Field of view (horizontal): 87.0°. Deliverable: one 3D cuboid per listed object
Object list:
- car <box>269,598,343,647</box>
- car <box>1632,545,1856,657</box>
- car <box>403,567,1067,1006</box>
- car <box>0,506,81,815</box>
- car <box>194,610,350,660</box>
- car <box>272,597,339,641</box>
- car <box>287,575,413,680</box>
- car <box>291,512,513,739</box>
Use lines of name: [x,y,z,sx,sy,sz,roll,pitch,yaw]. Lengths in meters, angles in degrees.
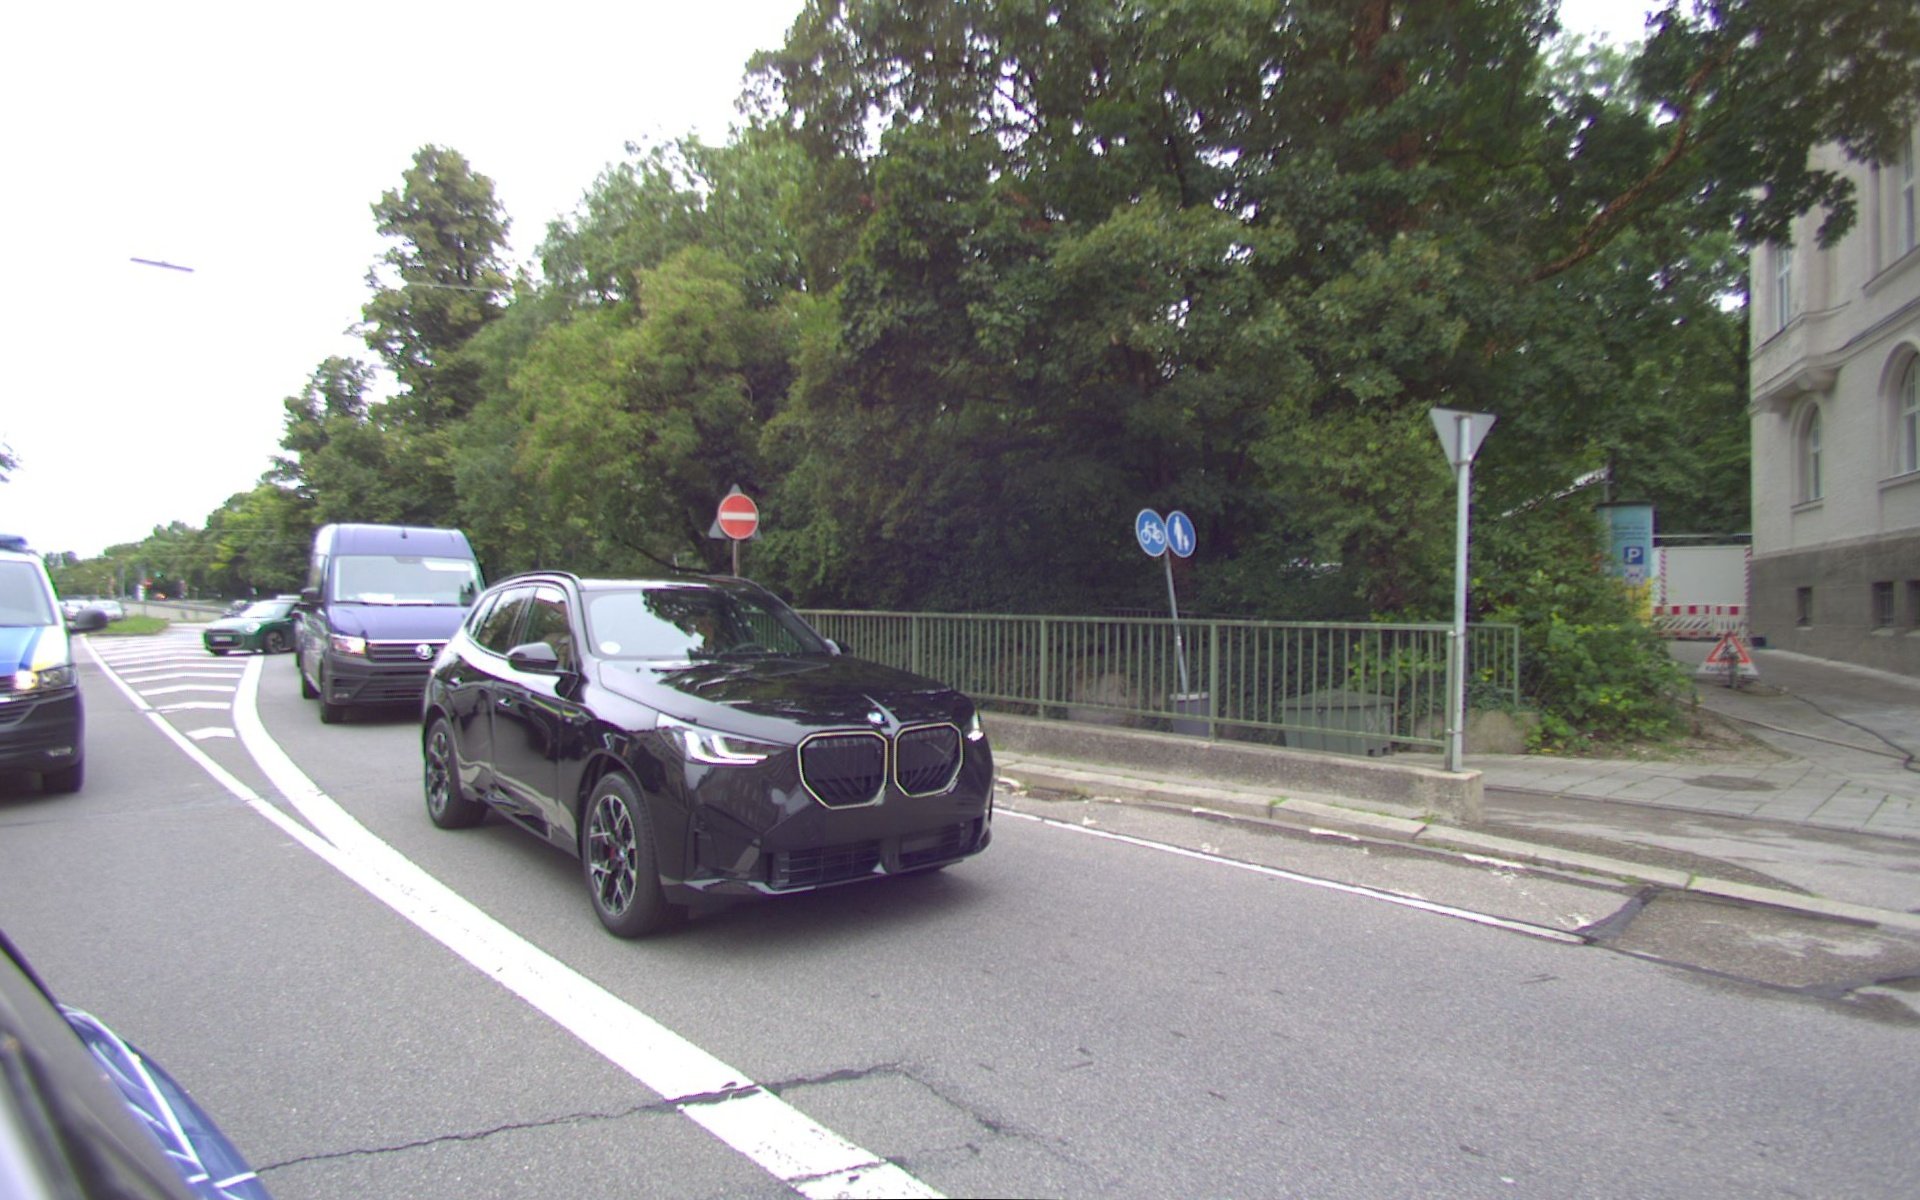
car: [-23.748,0.777,36.666,2.070,1.602,5.582,-1,0,-34]
car: [23.590,0.032,30.747,4.765,3.198,2.470,0,-1,18]
car: [-1.620,0.681,5.884,1.893,1.577,4.299,1,-1,-42]
car: [-8.888,0.451,8.590,1.801,2.115,5.636,0,-1,-45]
car: [-18.613,0.909,27.575,1.479,1.223,3.602,0,0,8]
car: [-28.373,0.790,43.807,2.279,1.742,5.228,-1,0,-34]
car: [-13.341,0.531,21.942,1.974,1.951,5.820,-1,0,-34]
car: [-8.106,0.266,14.326,1.974,2.510,6.247,0,0,-36]
